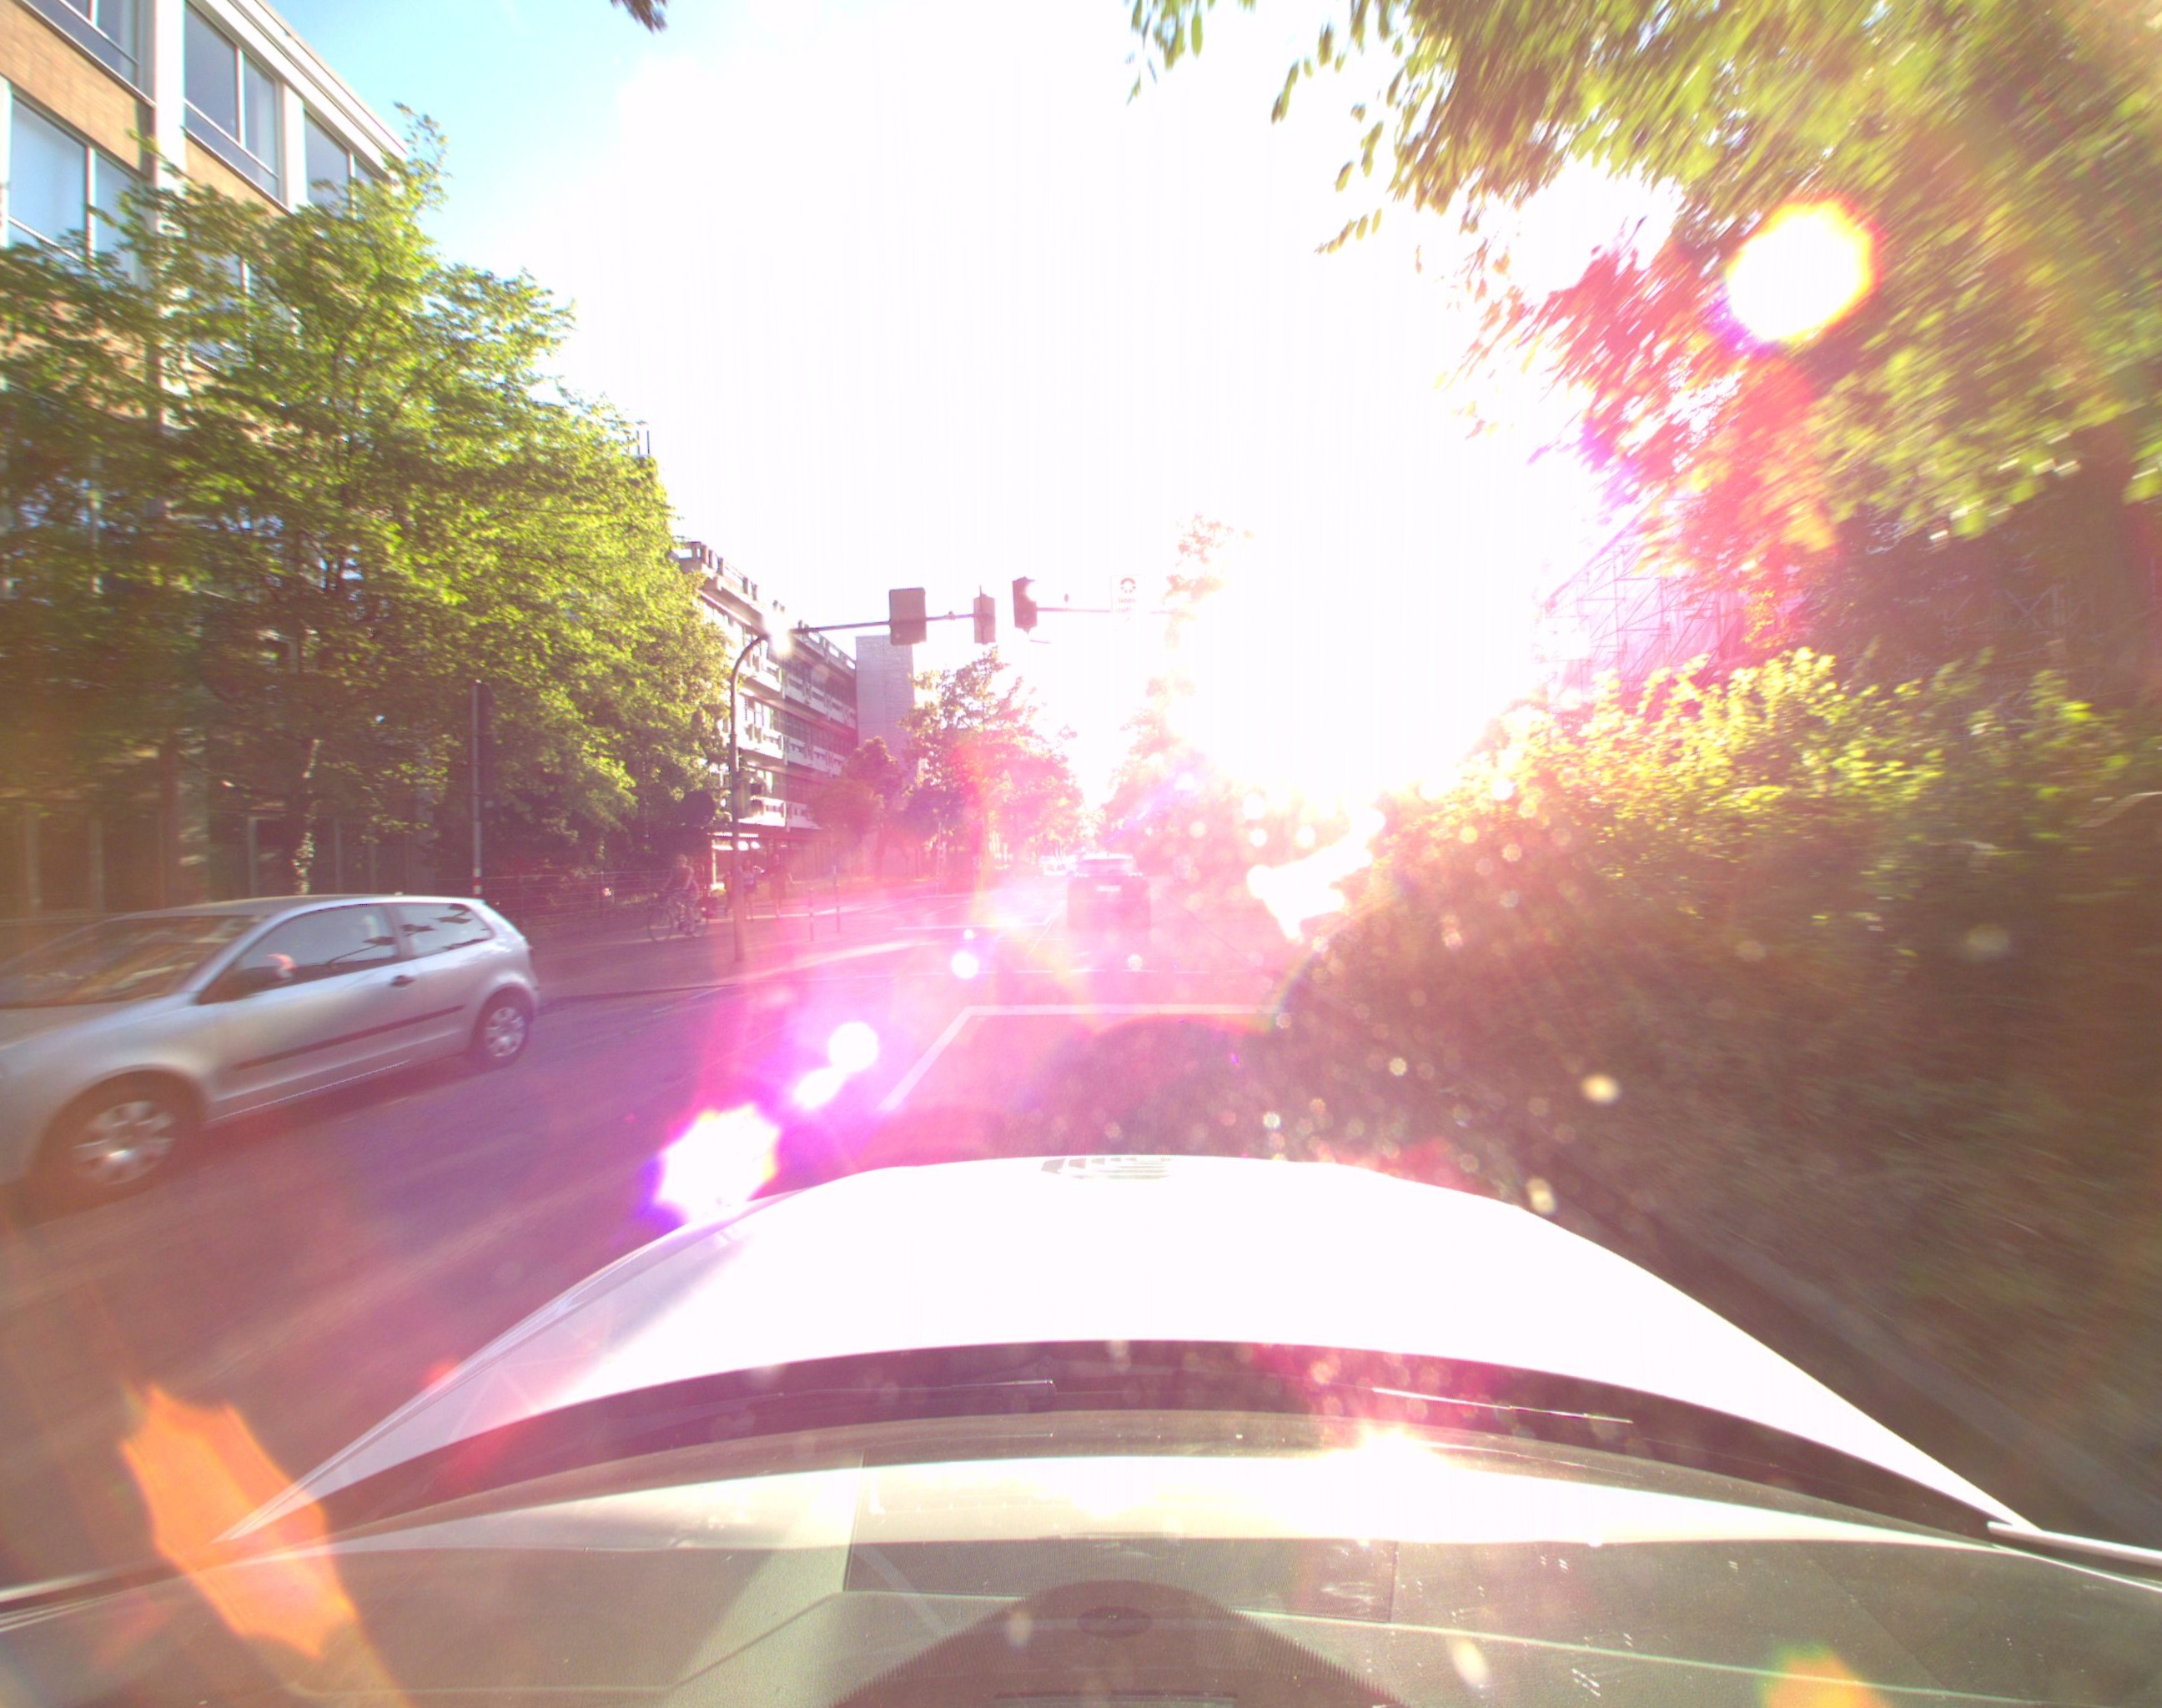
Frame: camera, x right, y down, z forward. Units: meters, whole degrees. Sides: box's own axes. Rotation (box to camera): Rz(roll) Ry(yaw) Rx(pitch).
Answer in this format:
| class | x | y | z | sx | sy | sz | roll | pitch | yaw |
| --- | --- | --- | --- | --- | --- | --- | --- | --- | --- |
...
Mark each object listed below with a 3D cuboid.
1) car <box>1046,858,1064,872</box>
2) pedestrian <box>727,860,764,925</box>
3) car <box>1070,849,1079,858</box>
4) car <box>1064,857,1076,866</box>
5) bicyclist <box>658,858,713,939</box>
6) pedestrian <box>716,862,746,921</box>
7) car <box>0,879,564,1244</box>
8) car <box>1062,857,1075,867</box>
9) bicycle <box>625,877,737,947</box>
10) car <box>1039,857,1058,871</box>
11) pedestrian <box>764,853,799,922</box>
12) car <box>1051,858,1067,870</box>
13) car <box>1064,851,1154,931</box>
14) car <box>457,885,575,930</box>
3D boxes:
| class | x | y | z | sx | sy | sz | roll | pitch | yaw |
| --- | --- | --- | --- | --- | --- | --- | --- | --- | --- |
| car | -2.816 | 1.157 | 88.267 | 1.806 | 1.354 | 3.997 | -3 | 0 | -2 |
| pedestrian | -8.922 | 1.012 | 21.657 | 0.719 | 1.662 | 0.700 | -3 | 0 | -34 |
| car | -1.440 | -0.112 | 187.240 | 1.900 | 1.867 | 3.950 | -2 | 0 | 2 |
| car | -1.856 | 1.243 | 132.171 | 1.806 | 1.354 | 3.997 | -3 | 0 | -2 |
| bicyclist | -8.062 | 0.893 | 16.615 | 0.670 | 1.603 | 0.709 | -2 | 0 | 18 |
| pedestrian | -10.422 | 1.101 | 24.257 | 0.716 | 1.662 | 0.761 | -3 | 0 | -22 |
| car | -5.538 | 1.024 | 5.255 | 1.672 | 1.457 | 3.885 | -4 | 0 | 3 |
| car | -1.879 | 1.226 | 122.024 | 1.806 | 1.354 | 3.976 | -3 | 0 | -2 |
| bicycle | -8.074 | 1.133 | 16.570 | 0.681 | 1.249 | 2.202 | -2 | 0 | 17 |
| car | -3.315 | 0.995 | 82.029 | 1.806 | 1.354 | 3.995 | -3 | 0 | -3 |
| pedestrian | -8.319 | 0.910 | 22.610 | 0.823 | 1.823 | 0.950 | -3 | 0 | -22 |
| car | -2.739 | 1.176 | 99.601 | 1.806 | 1.354 | 3.997 | -3 | 0 | -2 |
| car | 0.609 | 0.743 | 18.119 | 1.762 | 1.568 | 3.381 | -2 | 0 | 1 |
| car | -21.533 | 2.011 | 31.145 | 3.263 | 1.457 | 1.680 | -3 | -2 | -8 |
